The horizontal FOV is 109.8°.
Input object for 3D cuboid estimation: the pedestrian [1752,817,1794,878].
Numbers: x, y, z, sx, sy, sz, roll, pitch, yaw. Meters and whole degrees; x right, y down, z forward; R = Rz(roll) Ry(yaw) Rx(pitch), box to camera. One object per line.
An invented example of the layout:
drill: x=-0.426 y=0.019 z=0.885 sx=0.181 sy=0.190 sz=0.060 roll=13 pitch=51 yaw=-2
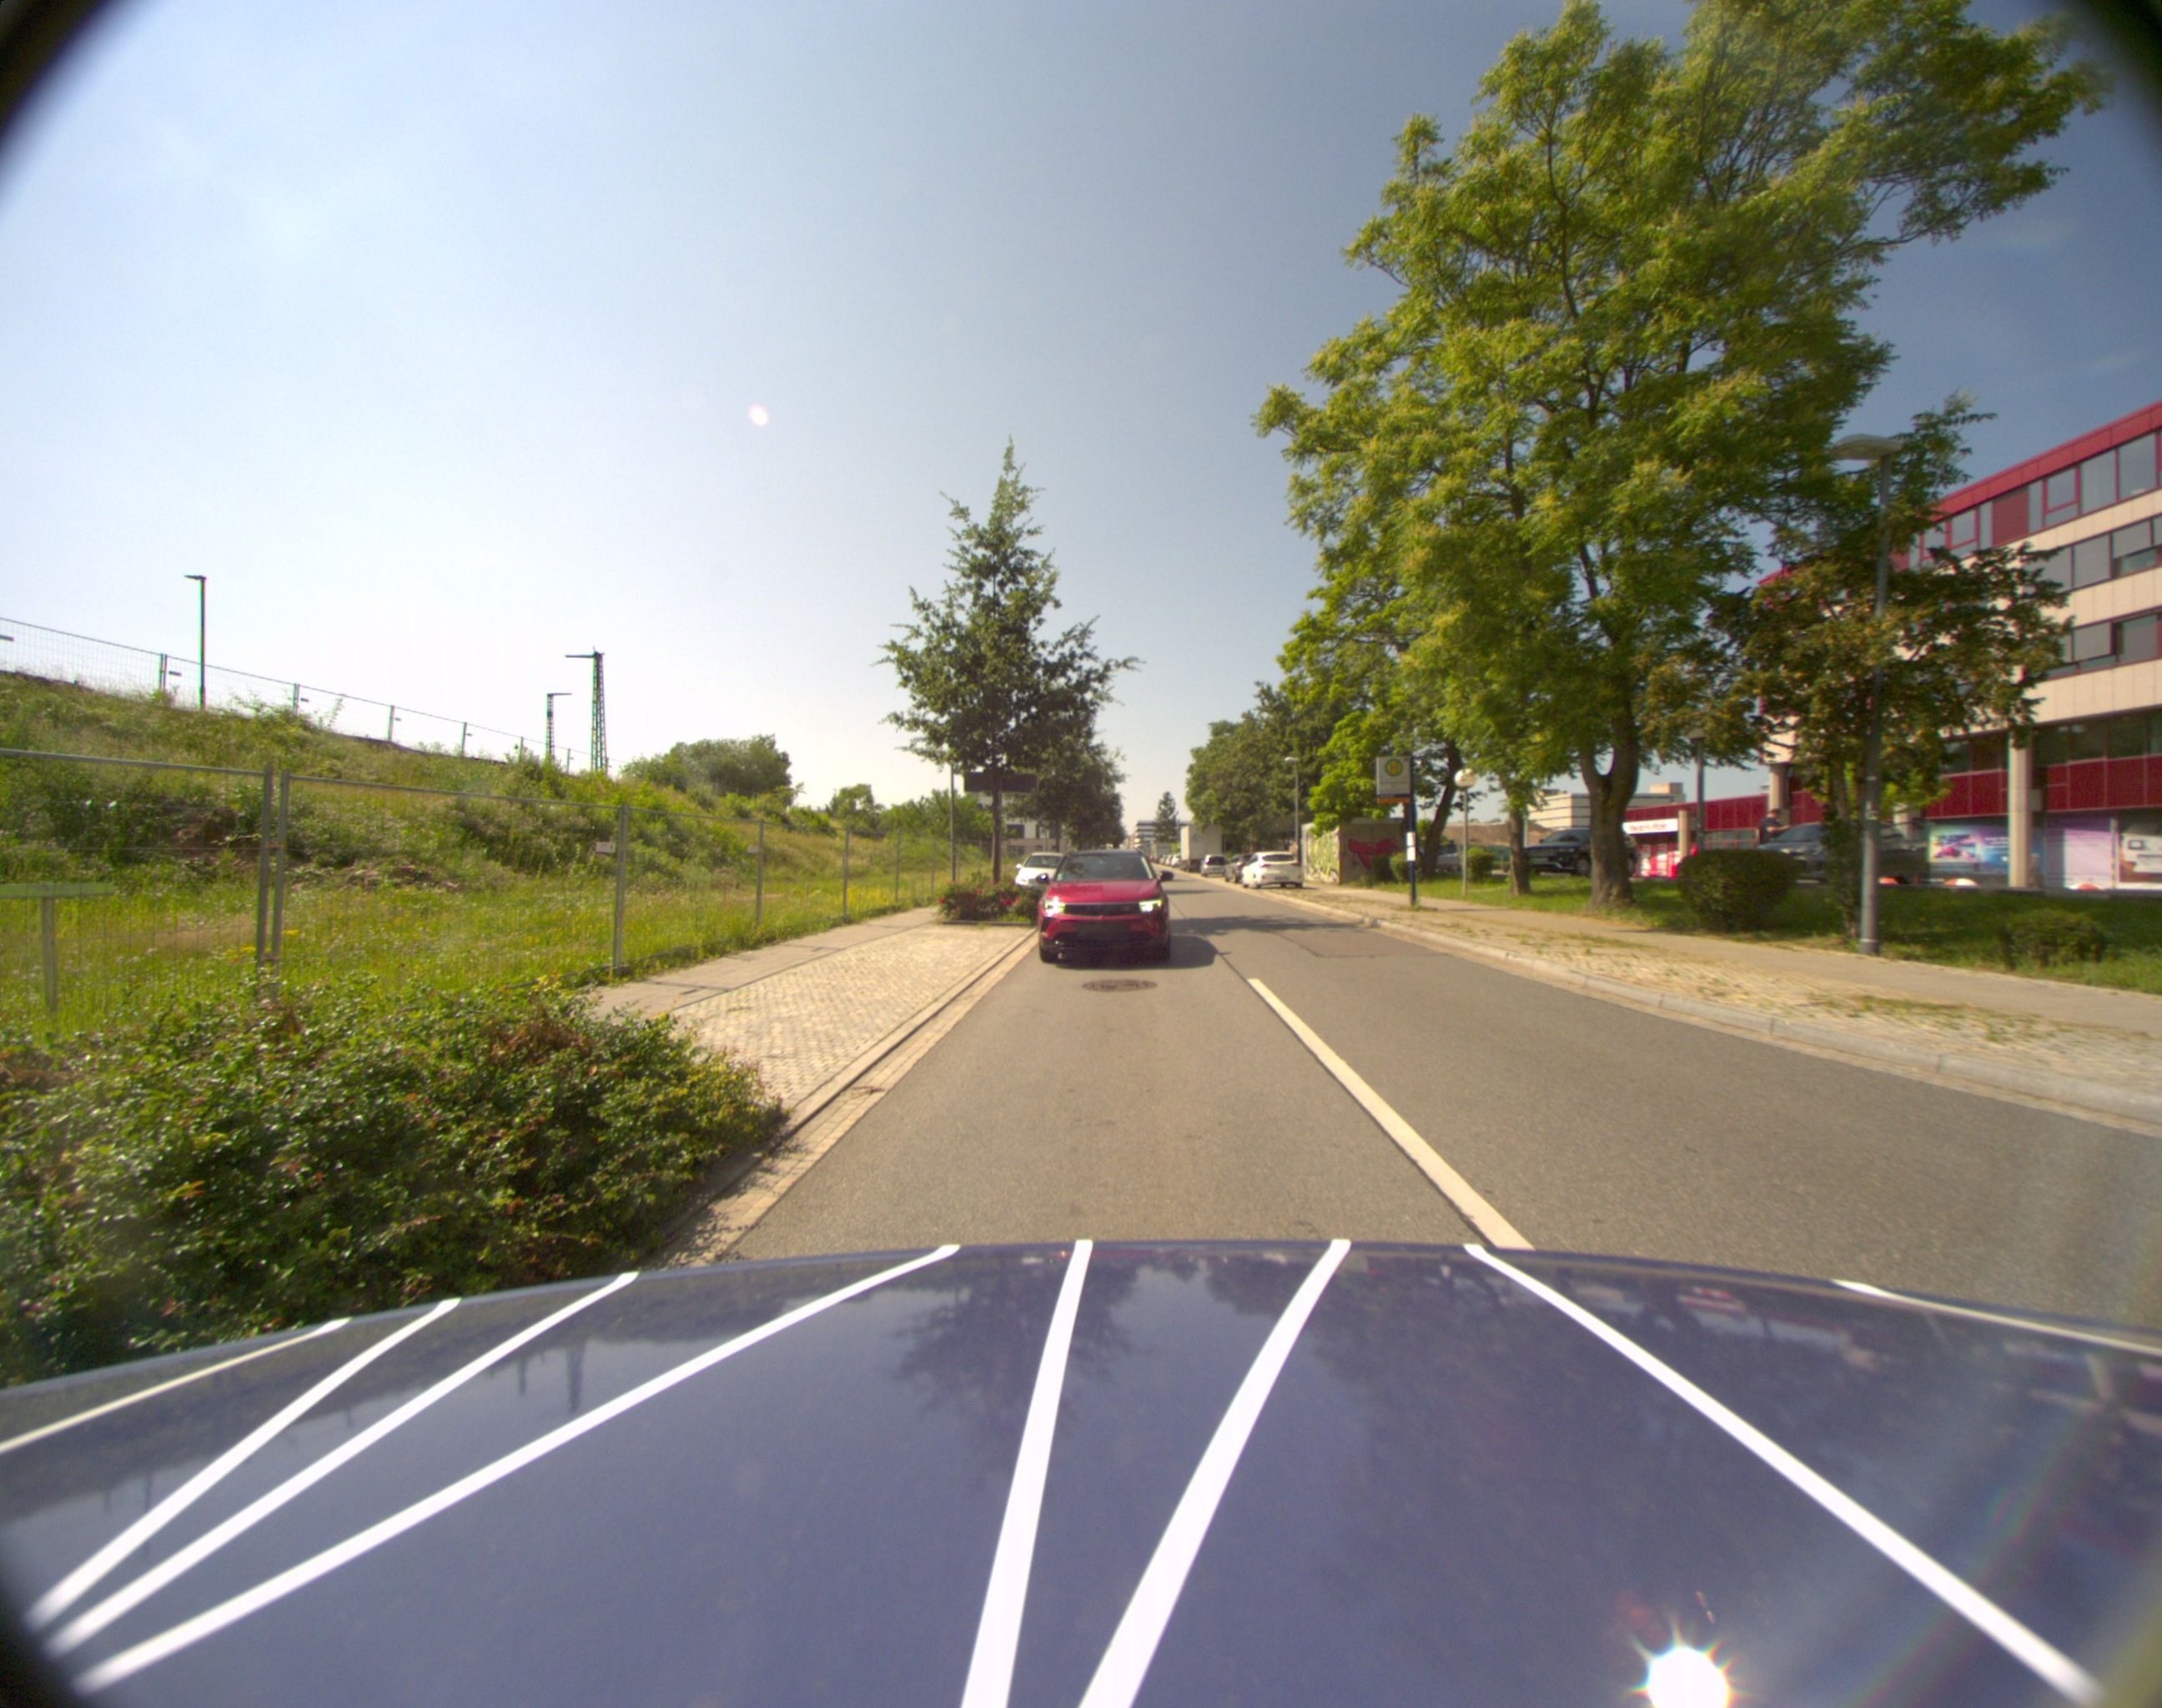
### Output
pedestrian: x=17.384 y=-0.157 z=19.101 sx=0.563 sy=1.518 sz=0.758 roll=0 pitch=0 yaw=25

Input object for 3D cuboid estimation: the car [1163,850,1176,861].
car: x=12.829 y=0.279 z=110.254 sx=1.814 sy=1.506 sz=4.001 roll=-2 pitch=0 yaw=5

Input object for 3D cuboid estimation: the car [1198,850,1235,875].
car: x=8.765 y=0.558 z=49.567 sx=1.814 sy=1.506 sz=4.001 roll=-2 pitch=0 yaw=2

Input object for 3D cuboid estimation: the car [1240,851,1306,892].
car: x=7.619 y=0.652 z=30.504 sx=1.765 sy=1.484 sz=4.000 roll=-2 pitch=0 yaw=2

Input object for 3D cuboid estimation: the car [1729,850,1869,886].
car: x=30.375 y=0.572 z=32.235 sx=1.726 sy=1.443 sz=4.228 roll=0 pitch=0 yaw=-44

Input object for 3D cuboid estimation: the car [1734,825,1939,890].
car: x=17.403 y=0.059 z=17.528 sx=3.993 sy=1.330 sz=1.716 roll=-2 pitch=0 yaw=-18

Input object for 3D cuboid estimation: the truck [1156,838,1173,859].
truck: x=13.790 y=-0.884 z=126.027 sx=2.701 sy=3.300 sz=7.346 roll=0 pitch=0 yaw=6

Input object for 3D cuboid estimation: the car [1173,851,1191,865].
car: x=11.491 y=0.404 z=86.876 sx=1.814 sy=1.506 sz=4.001 roll=-2 pitch=0 yaw=5

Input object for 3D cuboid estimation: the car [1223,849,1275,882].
car: x=8.268 y=0.555 z=37.810 sx=1.814 sy=1.506 sz=4.001 roll=-1 pitch=0 yaw=2

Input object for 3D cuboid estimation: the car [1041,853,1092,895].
car: x=-0.544 y=0.798 z=32.002 sx=1.846 sy=1.606 sz=4.001 roll=2 pitch=0 yaw=3

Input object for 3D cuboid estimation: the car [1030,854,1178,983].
car: x=0.348 y=0.812 z=11.601 sx=1.821 sy=1.594 sz=4.308 roll=0 pitch=0 yaw=2

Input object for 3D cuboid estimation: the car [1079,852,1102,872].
car: x=0.850 y=0.700 z=67.288 sx=1.846 sy=1.606 sz=4.001 roll=1 pitch=0 yaw=3

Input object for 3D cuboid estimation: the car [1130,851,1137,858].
car: x=13.401 y=0.107 z=193.836 sx=1.764 sy=1.783 sz=4.002 roll=0 pitch=0 yaw=6

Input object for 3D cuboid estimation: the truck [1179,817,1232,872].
truck: x=10.055 y=-0.694 z=62.359 sx=3.352 sy=4.119 sz=9.280 roll=-2 pitch=0 yaw=4

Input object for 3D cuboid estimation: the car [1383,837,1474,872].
car: x=18.976 y=0.056 z=41.496 sx=4.723 sy=1.793 sz=1.996 roll=0 pitch=-1 yaw=-27

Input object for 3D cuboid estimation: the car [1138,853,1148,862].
car: x=11.881 y=0.640 z=145.472 sx=1.790 sy=1.783 sz=4.001 roll=0 pitch=0 yaw=4

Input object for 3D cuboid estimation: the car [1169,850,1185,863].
car: x=12.295 y=0.301 z=97.900 sx=1.814 sy=1.506 sz=4.001 roll=-2 pitch=0 yaw=5

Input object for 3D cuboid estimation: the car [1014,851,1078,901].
car: x=-1.181 y=0.753 z=27.674 sx=1.846 sy=1.606 sz=4.371 roll=3 pitch=0 yaw=3

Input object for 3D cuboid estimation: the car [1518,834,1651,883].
car: x=17.363 y=0.134 z=26.149 sx=4.823 sy=1.484 sz=1.848 roll=-2 pitch=0 yaw=-30

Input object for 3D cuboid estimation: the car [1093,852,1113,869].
car: x=2.259 y=0.672 z=76.272 sx=1.846 sy=1.606 sz=4.001 roll=1 pitch=0 yaw=3
